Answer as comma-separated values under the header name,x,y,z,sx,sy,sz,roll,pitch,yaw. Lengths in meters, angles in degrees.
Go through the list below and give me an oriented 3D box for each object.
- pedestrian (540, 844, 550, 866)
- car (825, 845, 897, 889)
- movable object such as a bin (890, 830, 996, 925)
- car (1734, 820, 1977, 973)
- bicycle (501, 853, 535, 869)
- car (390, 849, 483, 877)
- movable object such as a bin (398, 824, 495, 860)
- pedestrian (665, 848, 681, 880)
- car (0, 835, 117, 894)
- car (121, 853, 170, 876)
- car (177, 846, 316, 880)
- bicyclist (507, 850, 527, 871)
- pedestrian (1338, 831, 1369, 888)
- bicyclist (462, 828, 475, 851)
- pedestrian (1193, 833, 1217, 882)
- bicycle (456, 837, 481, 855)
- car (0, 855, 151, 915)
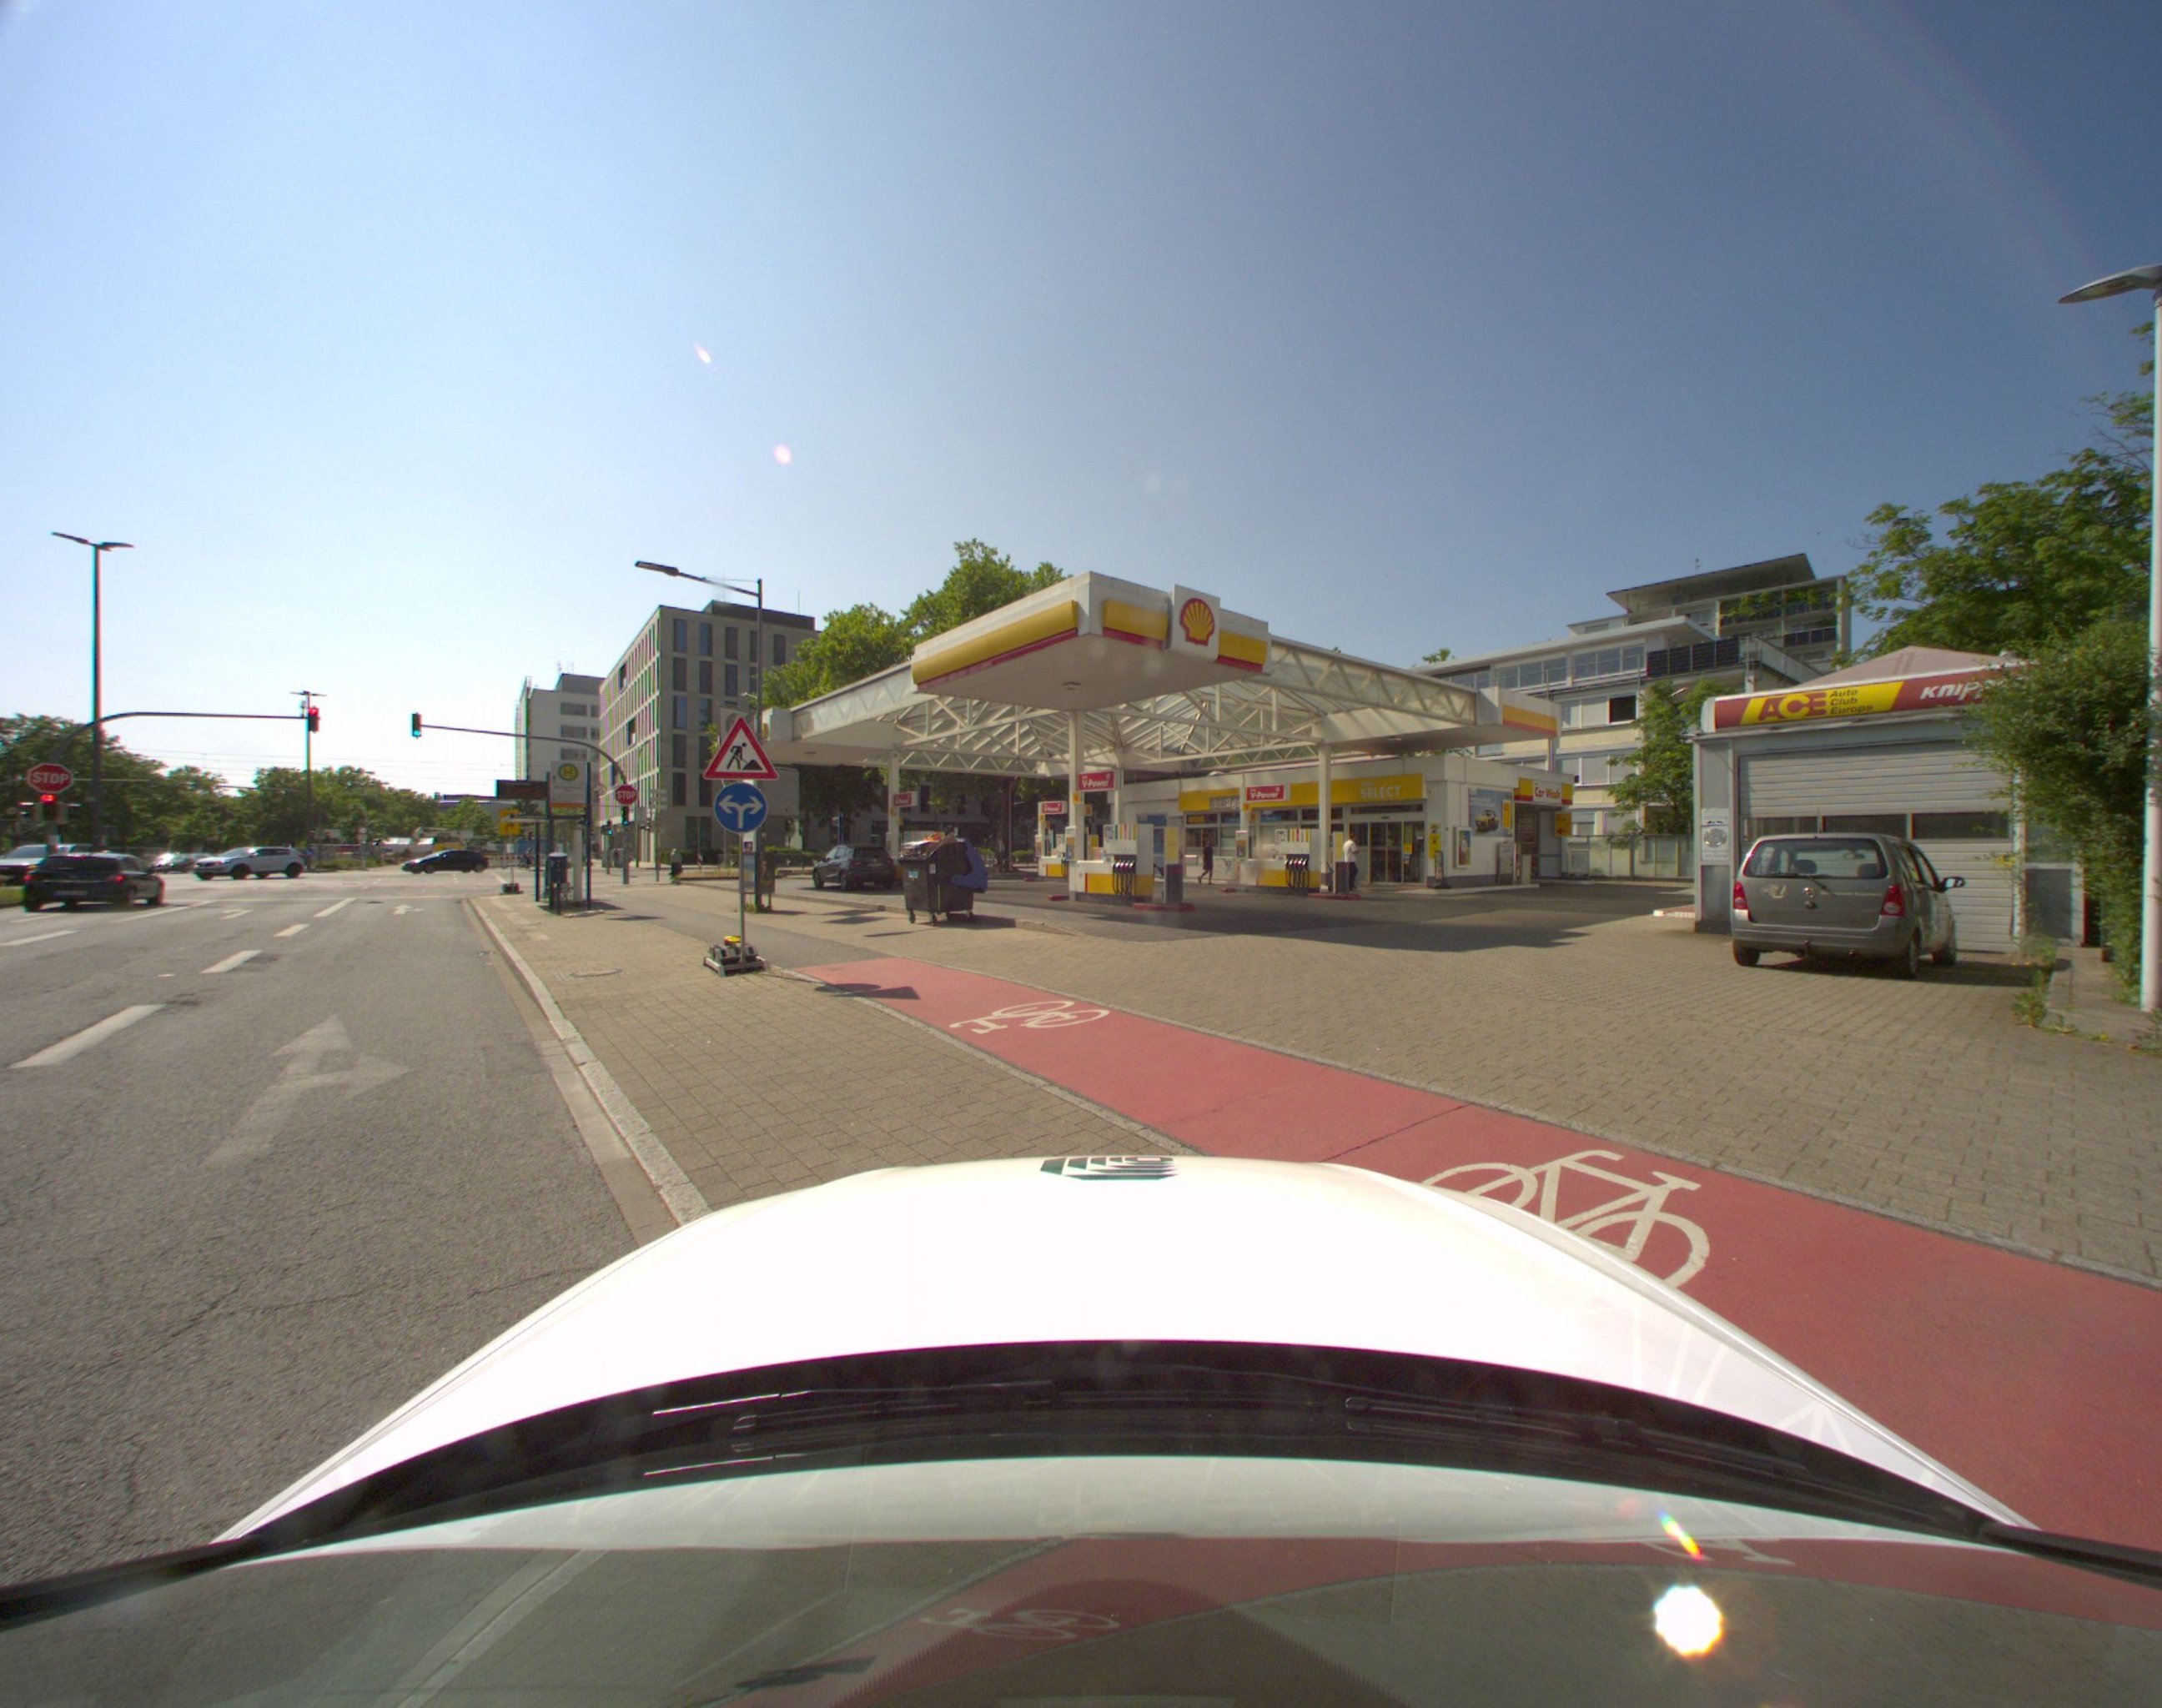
name,x,y,z,sx,sy,sz,roll,pitch,yaw
pedestrian,-44.392,0.083,67.433,0.710,1.771,0.533,0,-1,38
car,-7.675,0.417,28.220,1.659,1.398,3.609,0,0,-28
movable object such as a bin,-2.519,0.391,14.831,1.319,1.592,1.379,-3,2,-41
car,9.835,0.446,10.262,3.850,1.596,1.572,0,0,-36
bicycle,-45.409,0.542,65.706,2.243,1.285,0.520,0,0,-30
car,-40.617,0.537,51.426,1.974,1.639,4.150,0,0,31
movable object such as a bin,-82.328,-1.465,105.972,9.751,4.550,3.129,0,0,-37
pedestrian,-20.160,0.496,40.246,0.623,1.543,0.456,0,0,-39
car,-38.461,0.359,30.328,2.008,2.013,4.819,0,0,-33
car,-65.528,0.707,57.018,3.913,1.509,1.761,0,0,34
car,-42.445,0.412,41.603,1.986,1.636,4.872,0,0,1
bicyclist,-45.461,0.548,65.670,1.247,1.673,0.520,0,0,-30
pedestrian,9.009,0.173,26.889,0.847,1.838,0.750,0,0,30
bicyclist,-68.102,-1.626,90.609,1.077,2.574,0.819,1,-1,-32
pedestrian,4.720,0.141,30.943,0.677,1.822,0.624,0,0,-32
bicycle,-68.135,-0.887,90.587,2.102,1.962,0.819,1,-1,-33
car,-26.044,0.725,21.094,2.010,1.398,3.953,0,0,-40
